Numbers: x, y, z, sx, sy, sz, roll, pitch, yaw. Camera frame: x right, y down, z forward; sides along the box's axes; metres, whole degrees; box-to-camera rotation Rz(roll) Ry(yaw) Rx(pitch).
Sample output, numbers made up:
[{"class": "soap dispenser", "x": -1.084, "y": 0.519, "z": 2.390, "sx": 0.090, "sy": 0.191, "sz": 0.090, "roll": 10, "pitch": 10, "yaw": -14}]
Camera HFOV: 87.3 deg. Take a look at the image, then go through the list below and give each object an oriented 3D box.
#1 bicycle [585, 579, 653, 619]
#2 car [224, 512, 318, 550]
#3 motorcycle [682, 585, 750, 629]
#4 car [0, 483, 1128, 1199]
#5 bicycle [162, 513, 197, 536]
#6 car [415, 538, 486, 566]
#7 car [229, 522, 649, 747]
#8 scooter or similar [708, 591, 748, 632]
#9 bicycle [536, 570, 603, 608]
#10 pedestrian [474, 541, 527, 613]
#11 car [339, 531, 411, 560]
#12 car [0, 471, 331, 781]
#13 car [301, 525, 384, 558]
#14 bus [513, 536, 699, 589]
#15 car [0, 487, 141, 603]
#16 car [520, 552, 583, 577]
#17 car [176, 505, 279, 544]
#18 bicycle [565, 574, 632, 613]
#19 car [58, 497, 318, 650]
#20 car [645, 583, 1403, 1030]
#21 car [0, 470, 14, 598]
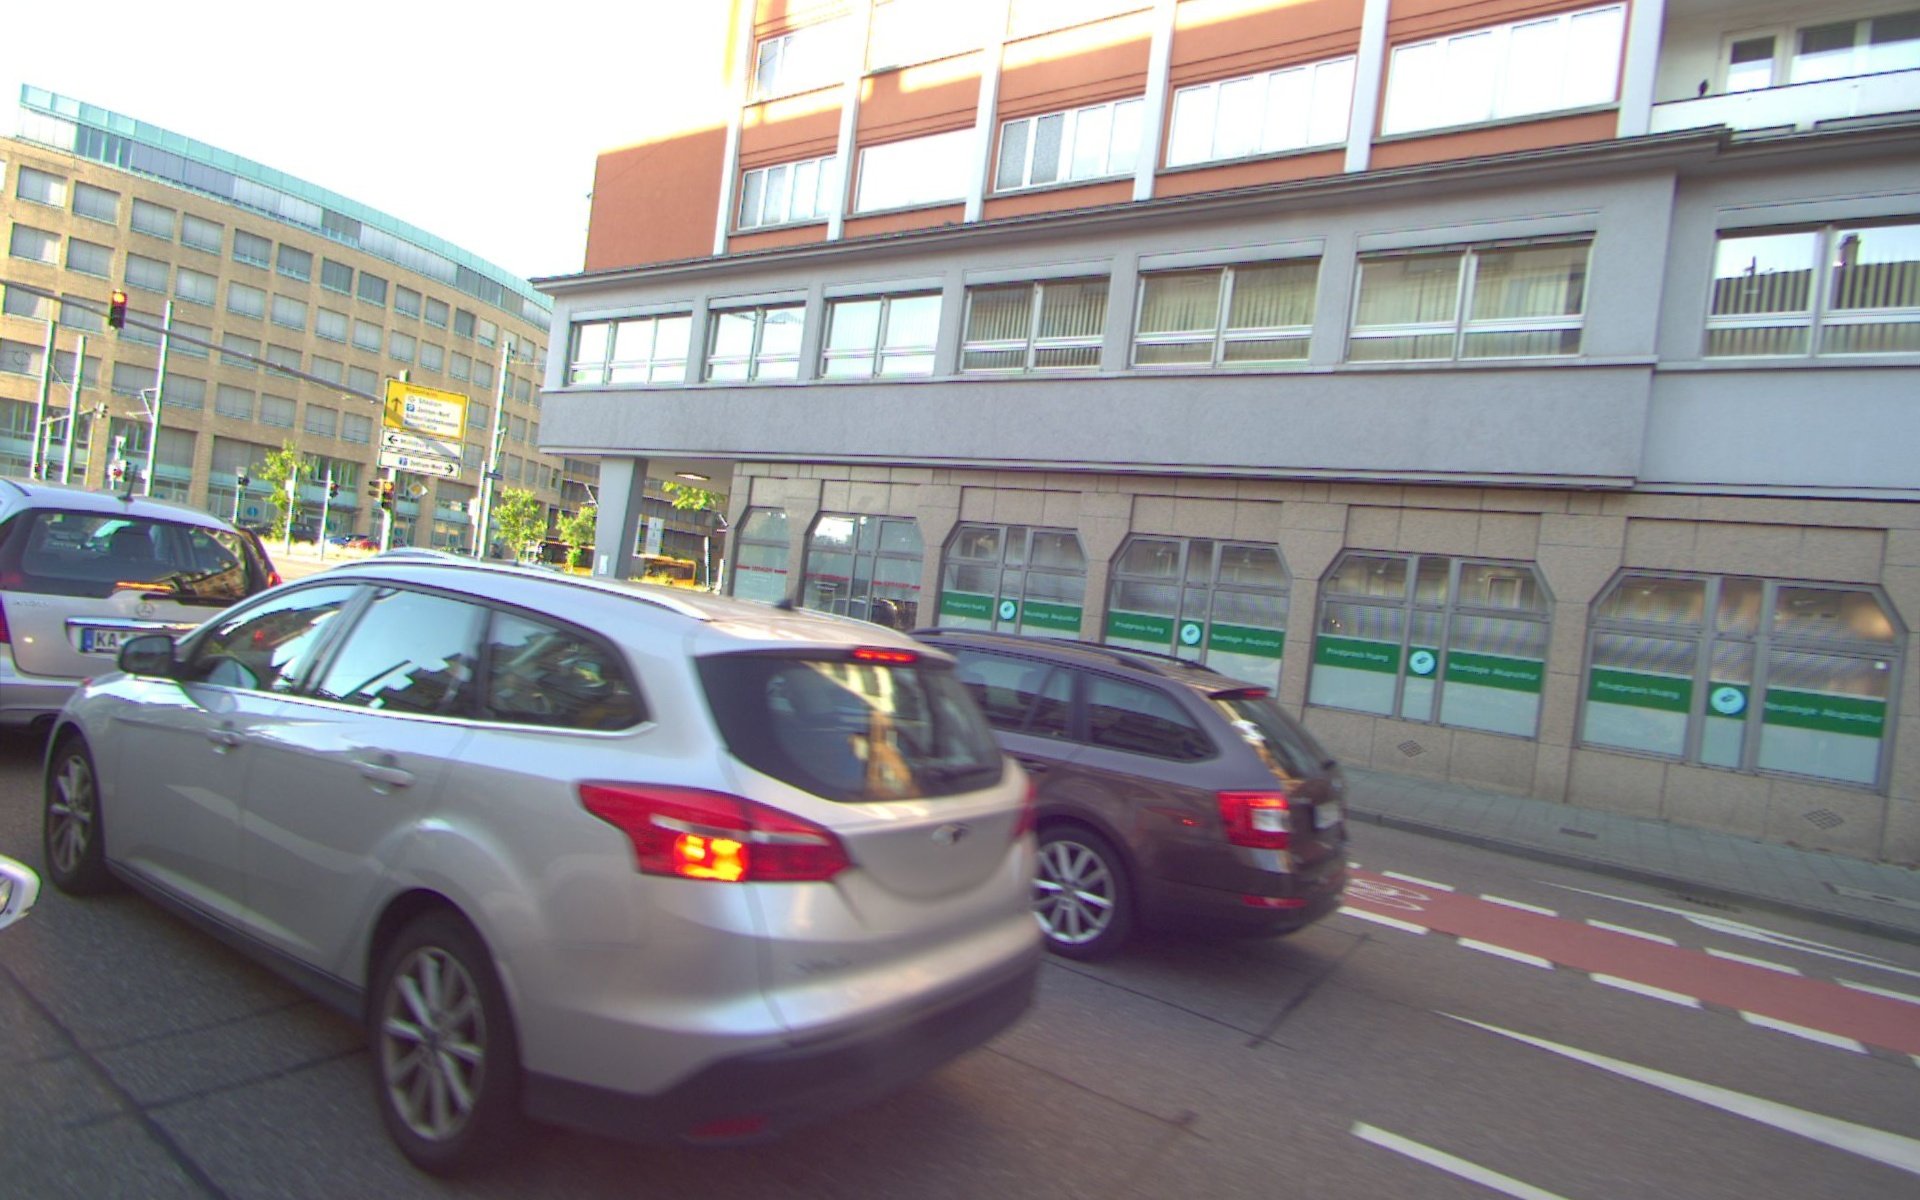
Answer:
[{"class": "bicycle", "x": -11.545, "y": -0.024, "z": 34.145, "sx": 0.730, "sy": 1.130, "sz": 2.088, "roll": 7, "pitch": 0, "yaw": 32}, {"class": "car", "x": -42.010, "y": -4.210, "z": 61.409, "sx": 1.969, "sy": 1.634, "sz": 4.231, "roll": 7, "pitch": 0, "yaw": 35}, {"class": "motorcycle", "x": -8.771, "y": 0.248, "z": 36.169, "sx": 2.363, "sy": 1.256, "sz": 0.855, "roll": 7, "pitch": 0, "yaw": 31}, {"class": "car", "x": -1.756, "y": 0.569, "z": 3.759, "sx": 4.239, "sy": 1.528, "sz": 1.710, "roll": 7, "pitch": -1, "yaw": 34}, {"class": "bicycle", "x": -47.887, "y": -4.649, "z": 61.732, "sx": 0.468, "sy": 1.187, "sz": 1.518, "roll": 8, "pitch": 0, "yaw": 40}, {"class": "car", "x": -36.014, "y": -3.410, "z": 71.198, "sx": 1.967, "sy": 1.362, "sz": 3.992, "roll": 7, "pitch": -1, "yaw": 32}, {"class": "car", "x": -5.094, "y": 0.260, "z": 9.650, "sx": 4.171, "sy": 1.502, "sz": 1.653, "roll": 7, "pitch": -1, "yaw": 34}, {"class": "scooter or similar", "x": -7.780, "y": 0.393, "z": 33.722, "sx": 1.129, "sy": 1.261, "sz": 0.425, "roll": 6, "pitch": 1, "yaw": -36}, {"class": "bicycle", "x": -13.901, "y": -0.377, "z": 35.858, "sx": 0.730, "sy": 1.130, "sz": 2.088, "roll": 7, "pitch": 0, "yaw": 32}, {"class": "pedestrian", "x": -12.424, "y": -0.616, "z": 27.208, "sx": 0.659, "sy": 1.790, "sz": 0.944, "roll": 8, "pitch": 1, "yaw": 38}, {"class": "car", "x": -38.671, "y": -3.601, "z": 66.561, "sx": 1.694, "sy": 1.358, "sz": 3.611, "roll": 7, "pitch": 0, "yaw": 34}, {"class": "car", "x": -6.056, "y": 0.001, "z": 6.619, "sx": 3.559, "sy": 1.588, "sz": 1.805, "roll": 7, "pitch": 0, "yaw": 33}, {"class": "car", "x": -41.463, "y": -3.929, "z": 67.669, "sx": 1.966, "sy": 1.520, "sz": 4.235, "roll": 7, "pitch": 0, "yaw": 31}, {"class": "bus", "x": -30.003, "y": -3.094, "z": 87.199, "sx": 2.381, "sy": 2.466, "sz": 18.206, "roll": 7, "pitch": -1, "yaw": 29}, {"class": "car", "x": -14.576, "y": -0.949, "z": 15.766, "sx": 3.589, "sy": 1.463, "sz": 1.587, "roll": 7, "pitch": -2, "yaw": 34}, {"class": "car", "x": -31.664, "y": -2.753, "z": 78.063, "sx": 1.967, "sy": 1.362, "sz": 3.992, "roll": 7, "pitch": -1, "yaw": 32}, {"class": "car", "x": -45.380, "y": -4.675, "z": 62.422, "sx": 1.967, "sy": 1.617, "sz": 4.654, "roll": 7, "pitch": 0, "yaw": 31}, {"class": "bicycle", "x": -12.594, "y": -0.214, "z": 35.084, "sx": 0.730, "sy": 1.130, "sz": 2.088, "roll": 7, "pitch": 0, "yaw": 32}, {"class": "car", "x": -9.998, "y": -0.363, "z": 12.973, "sx": 3.422, "sy": 1.524, "sz": 1.491, "roll": 7, "pitch": 0, "yaw": 33}, {"class": "car", "x": 0.218, "y": 0.902, "z": 6.007, "sx": 4.091, "sy": 1.475, "sz": 1.709, "roll": 7, "pitch": 0, "yaw": 34}, {"class": "car", "x": -12.320, "y": -0.824, "z": 11.007, "sx": 4.405, "sy": 1.652, "sz": 1.786, "roll": 7, "pitch": 0, "yaw": 33}]
